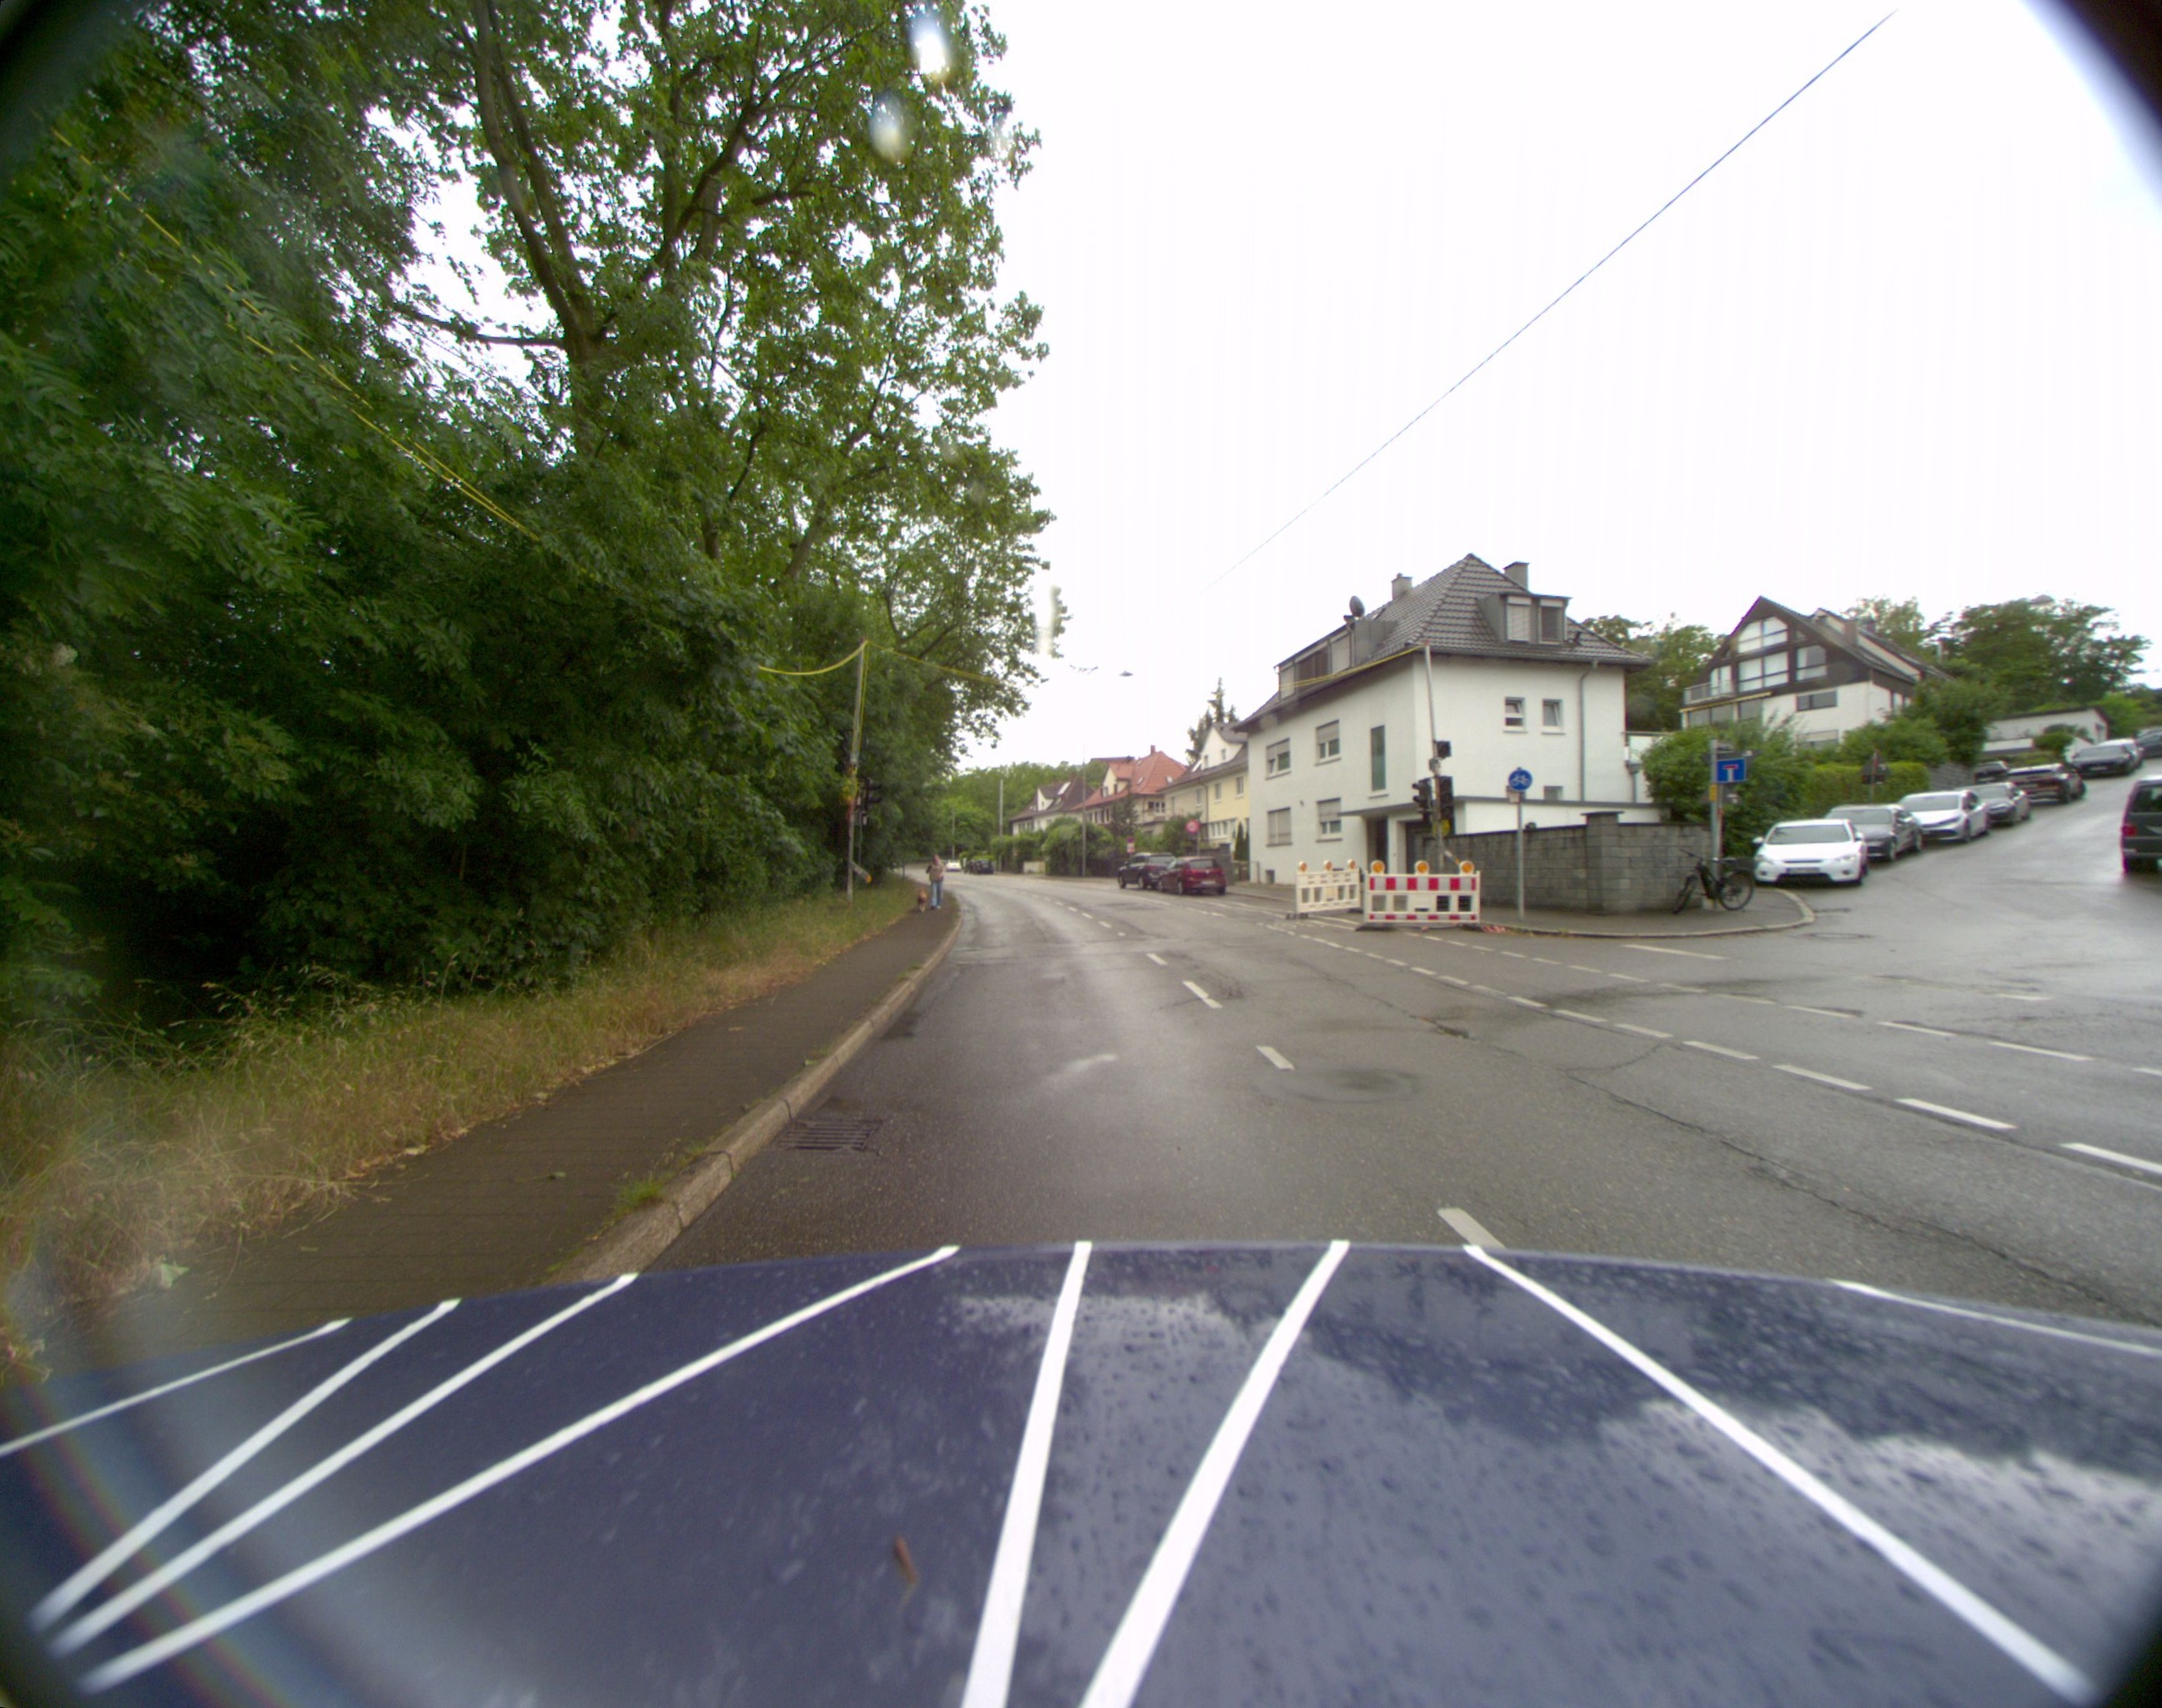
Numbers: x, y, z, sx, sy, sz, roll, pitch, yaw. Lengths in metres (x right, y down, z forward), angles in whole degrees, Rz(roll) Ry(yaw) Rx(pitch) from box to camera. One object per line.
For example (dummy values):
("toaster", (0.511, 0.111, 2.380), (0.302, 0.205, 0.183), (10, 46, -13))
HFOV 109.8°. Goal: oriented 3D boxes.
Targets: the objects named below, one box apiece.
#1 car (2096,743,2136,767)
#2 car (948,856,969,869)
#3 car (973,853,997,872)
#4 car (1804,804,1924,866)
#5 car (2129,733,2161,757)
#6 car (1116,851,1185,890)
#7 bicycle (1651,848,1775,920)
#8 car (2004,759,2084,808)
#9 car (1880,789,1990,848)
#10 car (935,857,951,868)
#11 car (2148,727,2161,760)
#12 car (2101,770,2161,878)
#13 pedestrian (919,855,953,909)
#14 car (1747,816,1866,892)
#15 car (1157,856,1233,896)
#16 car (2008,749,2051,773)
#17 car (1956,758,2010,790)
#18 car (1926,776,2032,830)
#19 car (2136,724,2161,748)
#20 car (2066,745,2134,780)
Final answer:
("car", (59.842, -5.747, 43.910), (2.988, 1.191, 1.305), (-6, 3, -35))
("car", (-15.229, 1.074, 94.188), (2.071, 1.477, 4.556), (-2, 0, -16))
("car", (-9.603, 0.844, 75.967), (1.882, 1.814, 4.121), (-2, 0, -14))
("car", (22.469, -0.560, 21.770), (3.910, 1.380, 1.719), (-7, 3, -34))
("car", (68.330, -6.943, 47.710), (1.286, 1.310, 2.945), (-3, 1, -36))
("car", (3.136, 0.732, 35.045), (1.798, 1.630, 4.150), (-1, 0, -15))
("bicycle", (11.593, 0.536, 13.947), (2.006, 1.232, 0.510), (-2, 3, -8))
("car", (40.725, -2.987, 32.124), (4.004, 1.617, 1.638), (-8, 4, -32))
("car", (27.275, -1.155, 24.243), (3.951, 1.462, 1.755), (-7, 3, -33))
("car", (-18.737, 1.135, 103.023), (1.691, 1.419, 3.770), (-2, 0, -17))
("car", (72.470, -7.454, 48.994), (2.003, 2.000, 3.993), (-2, -4, -32))
("car", (23.889, -0.754, 16.273), (4.497, 2.003, 1.996), (-7, 3, -31))
("pedestrian", (-4.160, 0.796, 21.856), (0.735, 1.490, 0.785), (-3, 1, -1))
("car", (17.782, -0.050, 18.549), (4.126, 1.455, 1.849), (-7, 4, -43))
("car", (4.388, 0.818, 29.917), (1.787, 1.423, 3.844), (-2, 0, -10))
("car", (57.244, -5.643, 45.877), (3.656, 1.205, 1.577), (-7, 3, -38))
("car", (52.873, -4.654, 44.529), (4.020, 1.545, 1.812), (-3, 1, -37))
("car", (32.333, -1.834, 27.346), (4.111, 1.430, 1.921), (-9, 4, -33))
("car", (81.123, -8.875, 55.972), (1.754, 1.508, 3.961), (-3, 1, -35))
("car", (54.820, -4.884, 40.853), (4.034, 1.511, 1.786), (-2, 0, -31))
